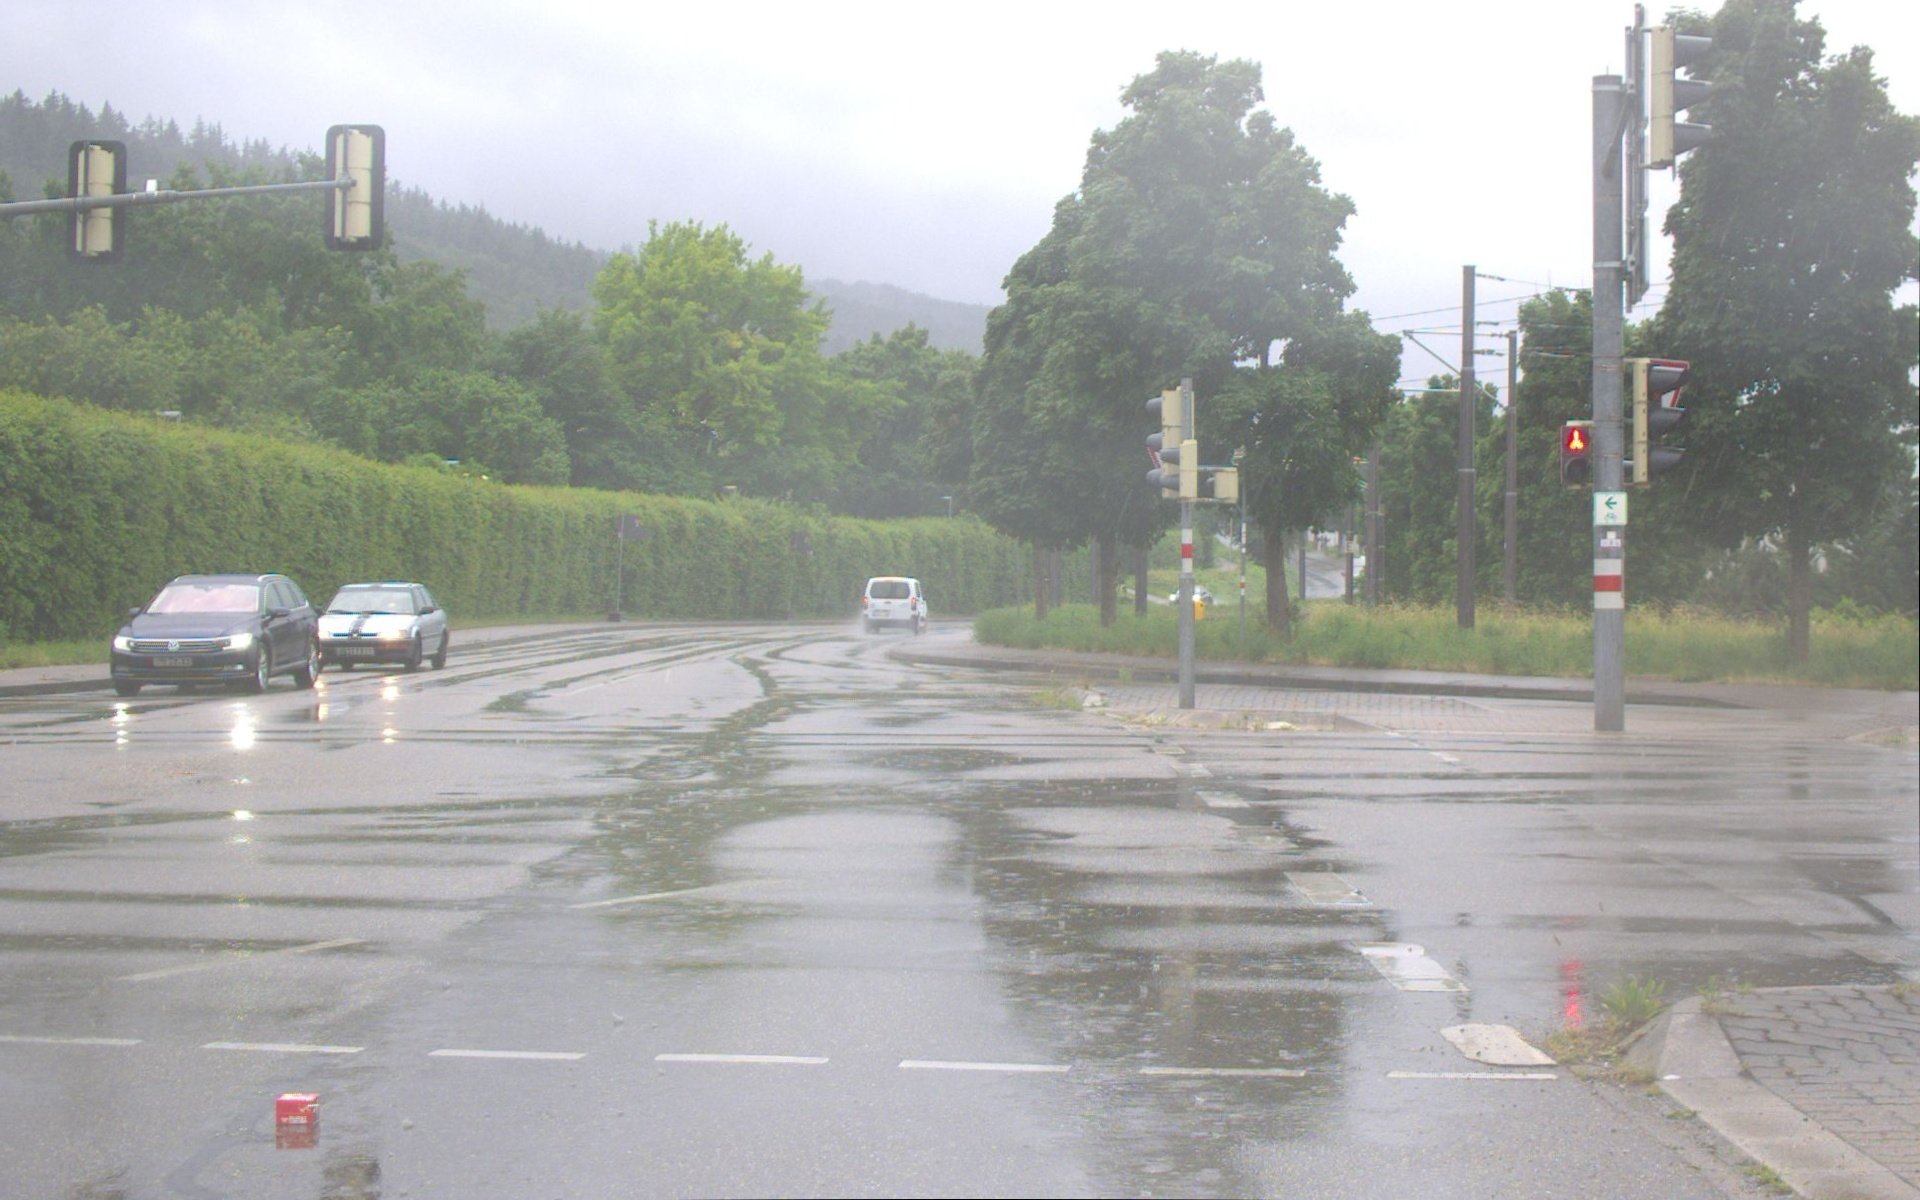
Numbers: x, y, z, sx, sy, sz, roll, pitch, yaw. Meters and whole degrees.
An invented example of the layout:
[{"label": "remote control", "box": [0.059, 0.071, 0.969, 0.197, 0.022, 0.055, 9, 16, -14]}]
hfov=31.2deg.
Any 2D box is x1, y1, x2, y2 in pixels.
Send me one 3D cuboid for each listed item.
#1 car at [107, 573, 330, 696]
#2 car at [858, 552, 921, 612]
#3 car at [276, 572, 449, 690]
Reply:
[{"label": "car", "box": [-9.297, 0.394, 43.434, 1.709, 1.461, 4.452, 0, 1, 2]}, {"label": "car", "box": [-2.262, -0.588, 111.312, 1.953, 1.897, 4.120, 0, 1, 0]}, {"label": "car", "box": [-9.308, 0.450, 53.884, 2.036, 1.702, 4.066, 1, 1, -1]}]
